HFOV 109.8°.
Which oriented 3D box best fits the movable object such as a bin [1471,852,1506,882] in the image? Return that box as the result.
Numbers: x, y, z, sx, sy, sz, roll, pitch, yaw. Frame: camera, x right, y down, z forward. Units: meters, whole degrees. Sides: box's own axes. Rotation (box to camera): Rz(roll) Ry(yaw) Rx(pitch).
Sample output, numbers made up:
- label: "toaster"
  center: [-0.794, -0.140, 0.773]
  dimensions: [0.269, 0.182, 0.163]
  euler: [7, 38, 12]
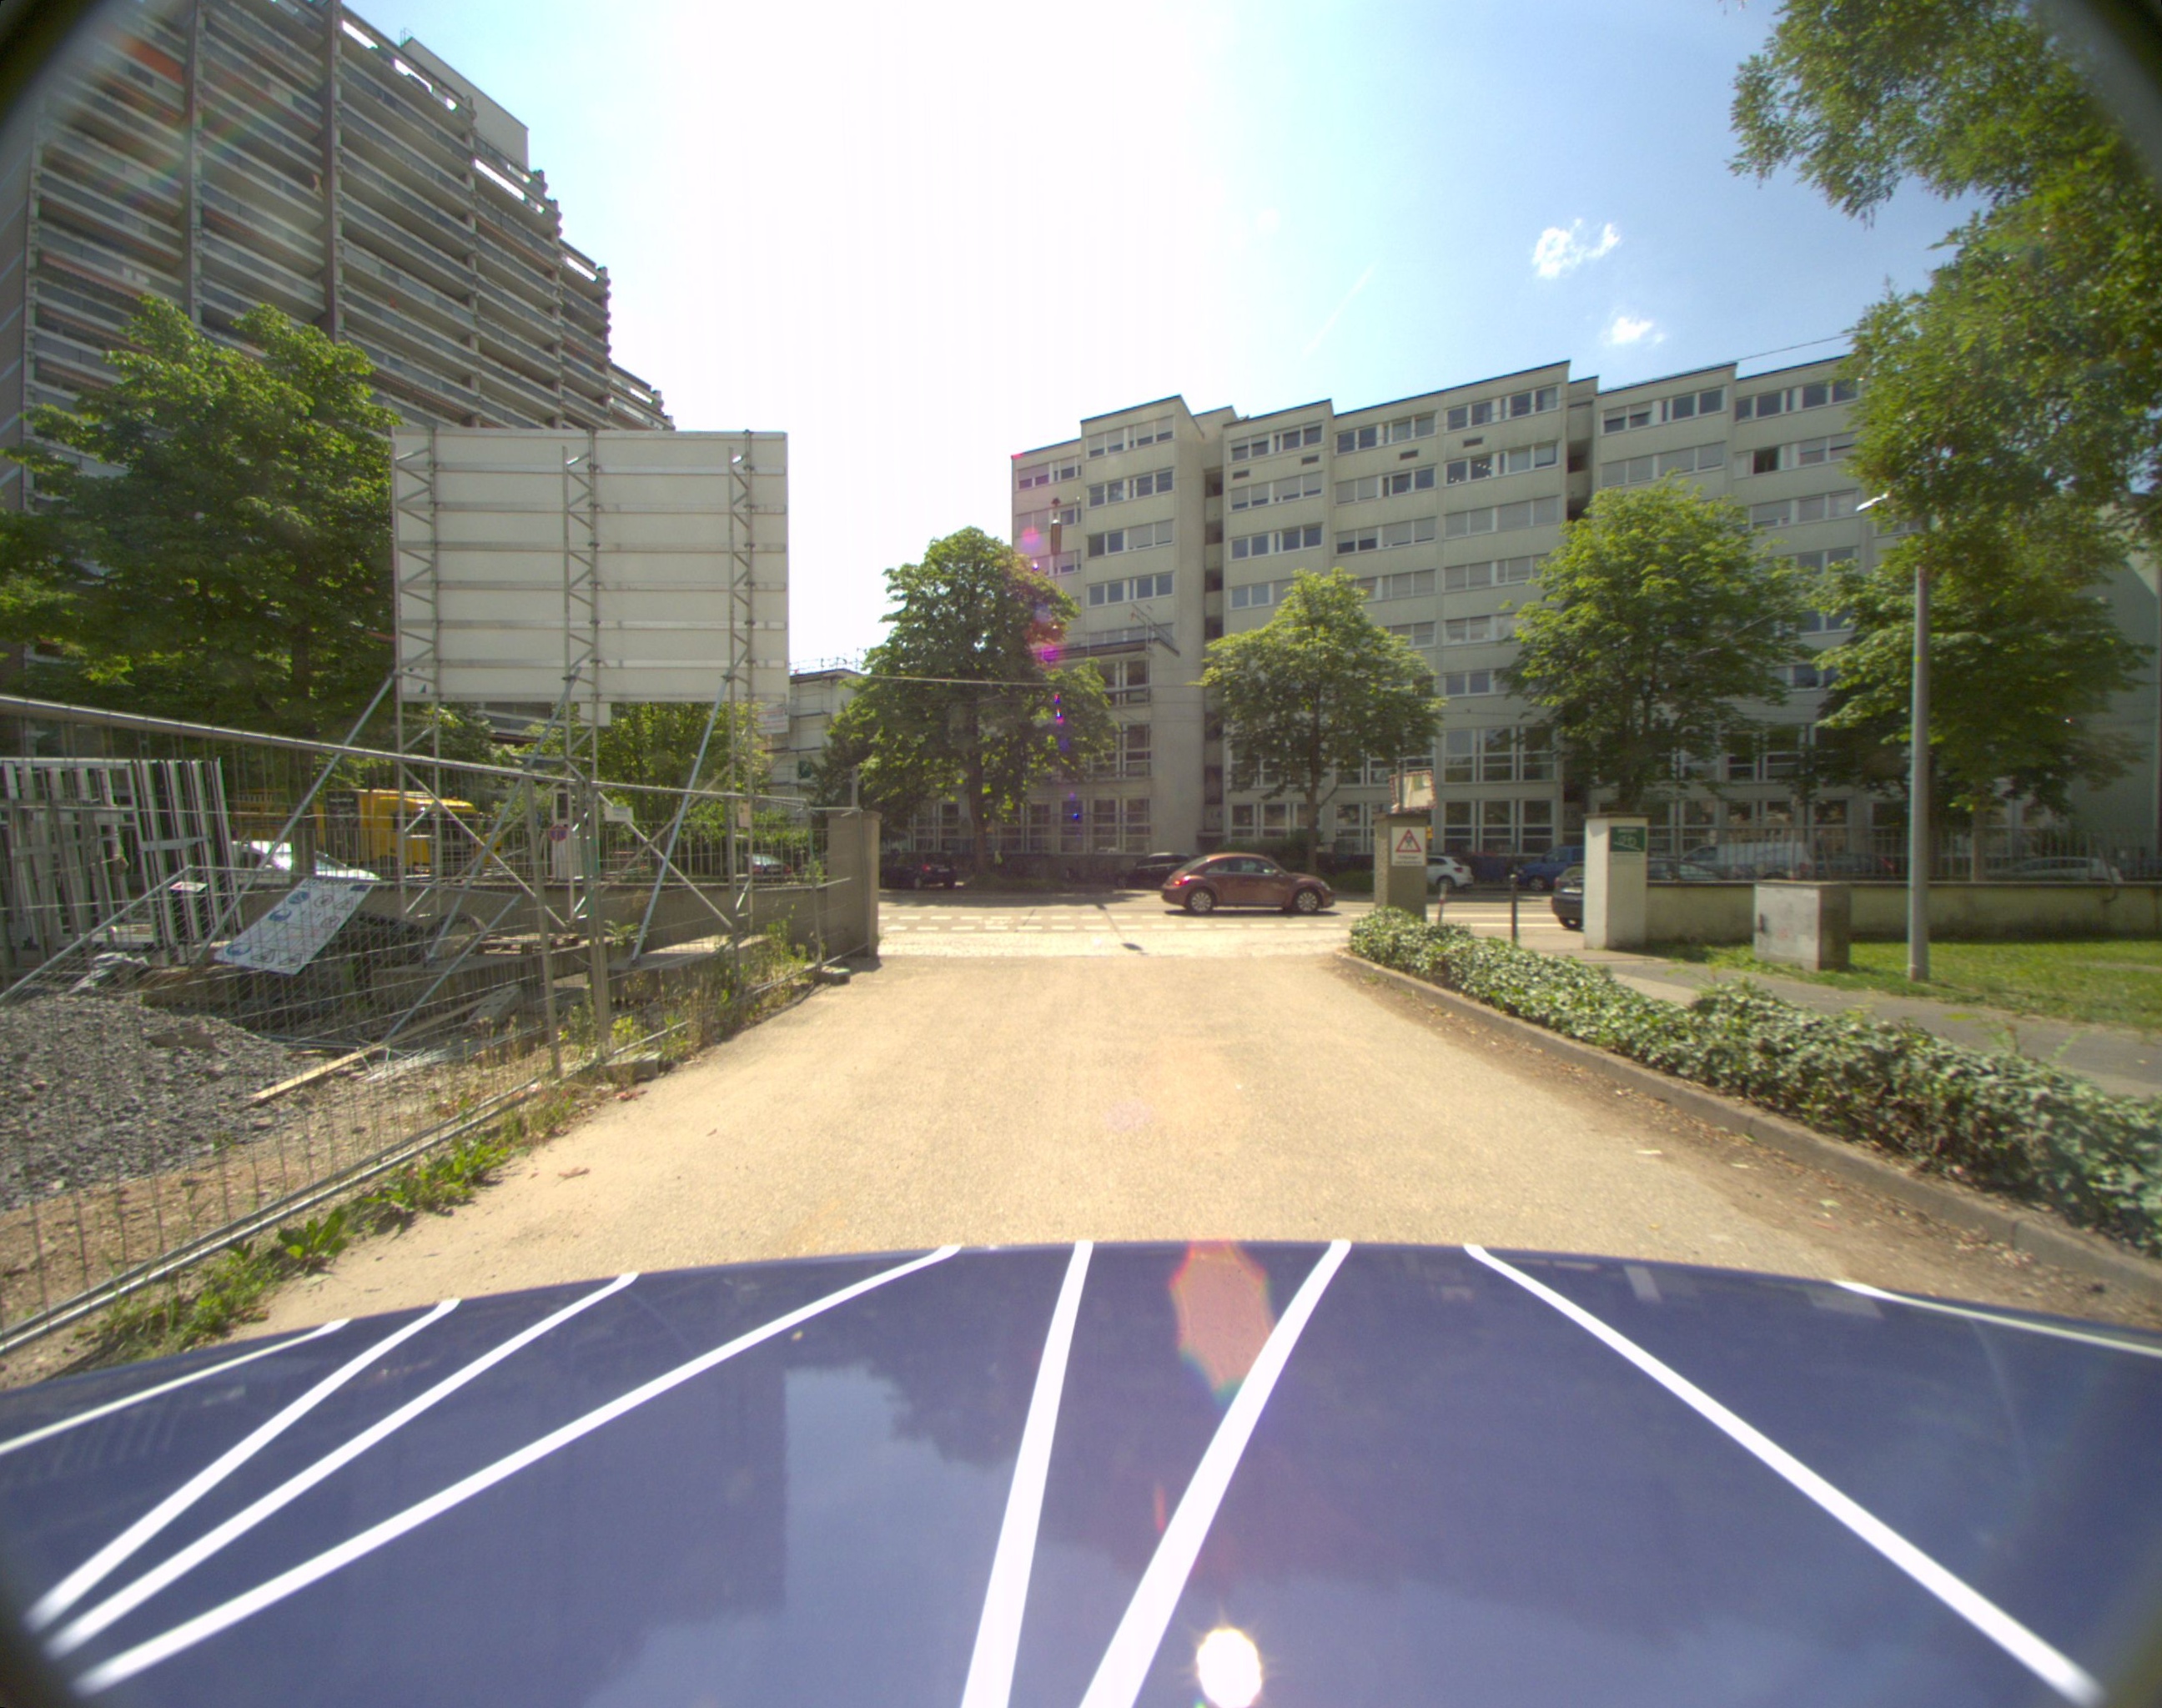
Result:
- label: "movable object such as a bin"
  center: [19.285, 0.592, 35.984]
  dimensions: [1.180, 1.390, 1.038]
  euler: [0, 0, 7]

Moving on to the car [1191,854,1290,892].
- label: "car"
  center: [6.426, 0.724, 30.871]
  dimensions: [3.529, 1.454, 1.758]
  euler: [0, 0, 43]

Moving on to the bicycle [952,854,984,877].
- label: "bicycle"
  center: [-5.756, 0.582, 38.822]
  dimensions: [0.567, 1.124, 1.931]
  euler: [0, 0, 27]

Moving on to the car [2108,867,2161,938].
- label: "car"
  center: [23.551, 0.964, 14.911]
  dimensions: [4.147, 1.410, 1.884]
  euler: [0, 0, 1]

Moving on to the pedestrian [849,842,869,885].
- label: "pedestrian"
  center: [-9.610, 0.413, 32.881]
  dimensions: [0.576, 1.864, 0.716]
  euler: [0, 1, 13]

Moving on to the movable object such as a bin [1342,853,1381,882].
- label: "movable object such as a bin"
  center: [13.235, 0.640, 35.907]
  dimensions: [1.451, 1.322, 1.126]
  euler: [0, 0, 1]

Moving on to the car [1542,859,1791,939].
- label: "car"
  center: [11.269, 0.858, 14.767]
  dimensions: [3.724, 1.447, 1.589]
  euler: [0, -2, -4]

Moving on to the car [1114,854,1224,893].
- label: "car"
  center: [3.499, 0.727, 30.711]
  dimensions: [4.185, 1.461, 1.758]
  euler: [0, 0, 43]

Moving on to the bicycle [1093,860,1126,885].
- label: "bicycle"
  center: [1.380, 0.860, 35.980]
  dimensions: [0.567, 1.124, 2.239]
  euler: [0, 0, 31]

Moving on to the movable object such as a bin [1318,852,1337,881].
- label: "movable object such as a bin"
  center: [12.072, 0.614, 37.243]
  dimensions: [0.802, 1.397, 0.768]
  euler: [0, 0, 13]

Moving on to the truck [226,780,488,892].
- label: "truck"
  center: [-28.346, -0.655, 29.769]
  dimensions: [9.725, 3.983, 2.754]
  euler: [0, 1, 16]

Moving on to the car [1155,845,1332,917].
- label: "car"
  center: [3.961, 0.634, 19.111]
  dimensions: [3.997, 1.680, 1.999]
  euler: [0, 2, -1]

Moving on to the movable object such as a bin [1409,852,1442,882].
- label: "movable object such as a bin"
  center: [16.340, 0.600, 36.114]
  dimensions: [1.180, 1.390, 1.038]
  euler: [0, 0, 7]

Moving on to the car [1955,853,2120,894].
- label: "car"
  center: [39.489, 0.744, 31.544]
  dimensions: [3.987, 1.380, 1.754]
  euler: [3, 5, 43]

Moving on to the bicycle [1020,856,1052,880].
- label: "bicycle"
  center: [-2.161, 0.655, 36.940]
  dimensions: [0.567, 1.124, 1.947]
  euler: [0, 0, 31]

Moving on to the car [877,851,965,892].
- label: "car"
  center: [-6.376, 0.664, 30.209]
  dimensions: [3.565, 1.508, 1.653]
  euler: [0, 1, 43]

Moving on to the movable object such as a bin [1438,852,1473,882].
- label: "movable object such as a bin"
  center: [17.756, 0.596, 36.054]
  dimensions: [1.180, 1.390, 1.038]
  euler: [0, 0, 7]

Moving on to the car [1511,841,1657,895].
- label: "car"
  center: [20.155, 0.520, 30.584]
  dimensions: [4.617, 2.002, 2.004]
  euler: [0, 0, 44]

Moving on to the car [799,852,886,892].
- label: "car"
  center: [-9.508, 0.667, 30.075]
  dimensions: [1.823, 1.454, 4.011]
  euler: [-1, 1, -41]

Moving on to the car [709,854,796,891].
- label: "car"
  center: [-13.023, 0.679, 30.022]
  dimensions: [4.011, 1.365, 1.633]
  euler: [0, 1, 43]

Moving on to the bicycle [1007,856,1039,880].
- label: "bicycle"
  center: [-2.831, 0.658, 37.357]
  dimensions: [0.567, 1.124, 1.947]
  euler: [0, 0, 31]

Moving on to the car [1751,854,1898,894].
- label: "car"
  center: [29.930, 0.759, 30.698]
  dimensions: [1.674, 1.477, 3.989]
  euler: [0, 0, -35]

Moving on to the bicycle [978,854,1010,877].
- label: "bicycle"
  center: [-4.353, 0.583, 38.181]
  dimensions: [0.567, 1.124, 1.931]
  euler: [0, 0, 31]

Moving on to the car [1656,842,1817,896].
- label: "car"
  center: [26.400, 0.545, 30.743]
  dimensions: [2.004, 2.002, 4.618]
  euler: [0, 0, -38]

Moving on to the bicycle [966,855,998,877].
- label: "bicycle"
  center: [-5.017, 0.593, 38.572]
  dimensions: [0.567, 1.124, 1.931]
  euler: [0, 0, 27]

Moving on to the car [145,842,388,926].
- label: "car"
  center: [-19.595, 0.684, 18.420]
  dimensions: [3.998, 1.845, 1.518]
  euler: [0, 4, -2]

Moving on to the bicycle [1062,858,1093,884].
- label: "bicycle"
  center: [-0.140, 0.796, 36.614]
  dimensions: [0.567, 1.230, 1.947]
  euler: [0, 1, 31]

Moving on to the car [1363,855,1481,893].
- label: "car"
  center: [13.663, 0.771, 30.546]
  dimensions: [3.969, 1.405, 1.719]
  euler: [0, 0, 43]

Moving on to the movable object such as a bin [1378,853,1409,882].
- label: "movable object such as a bin"
  center: [14.808, 0.636, 35.983]
  dimensions: [1.076, 1.322, 0.971]
  euler: [0, 0, 1]

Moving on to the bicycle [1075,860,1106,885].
- label: "bicycle"
  center: [0.456, 0.877, 36.053]
  dimensions: [0.567, 1.124, 1.947]
  euler: [0, 0, 31]

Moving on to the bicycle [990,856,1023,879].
- label: "bicycle"
  center: [-3.697, 0.654, 37.826]
  dimensions: [0.567, 1.124, 1.947]
  euler: [0, 0, 31]
